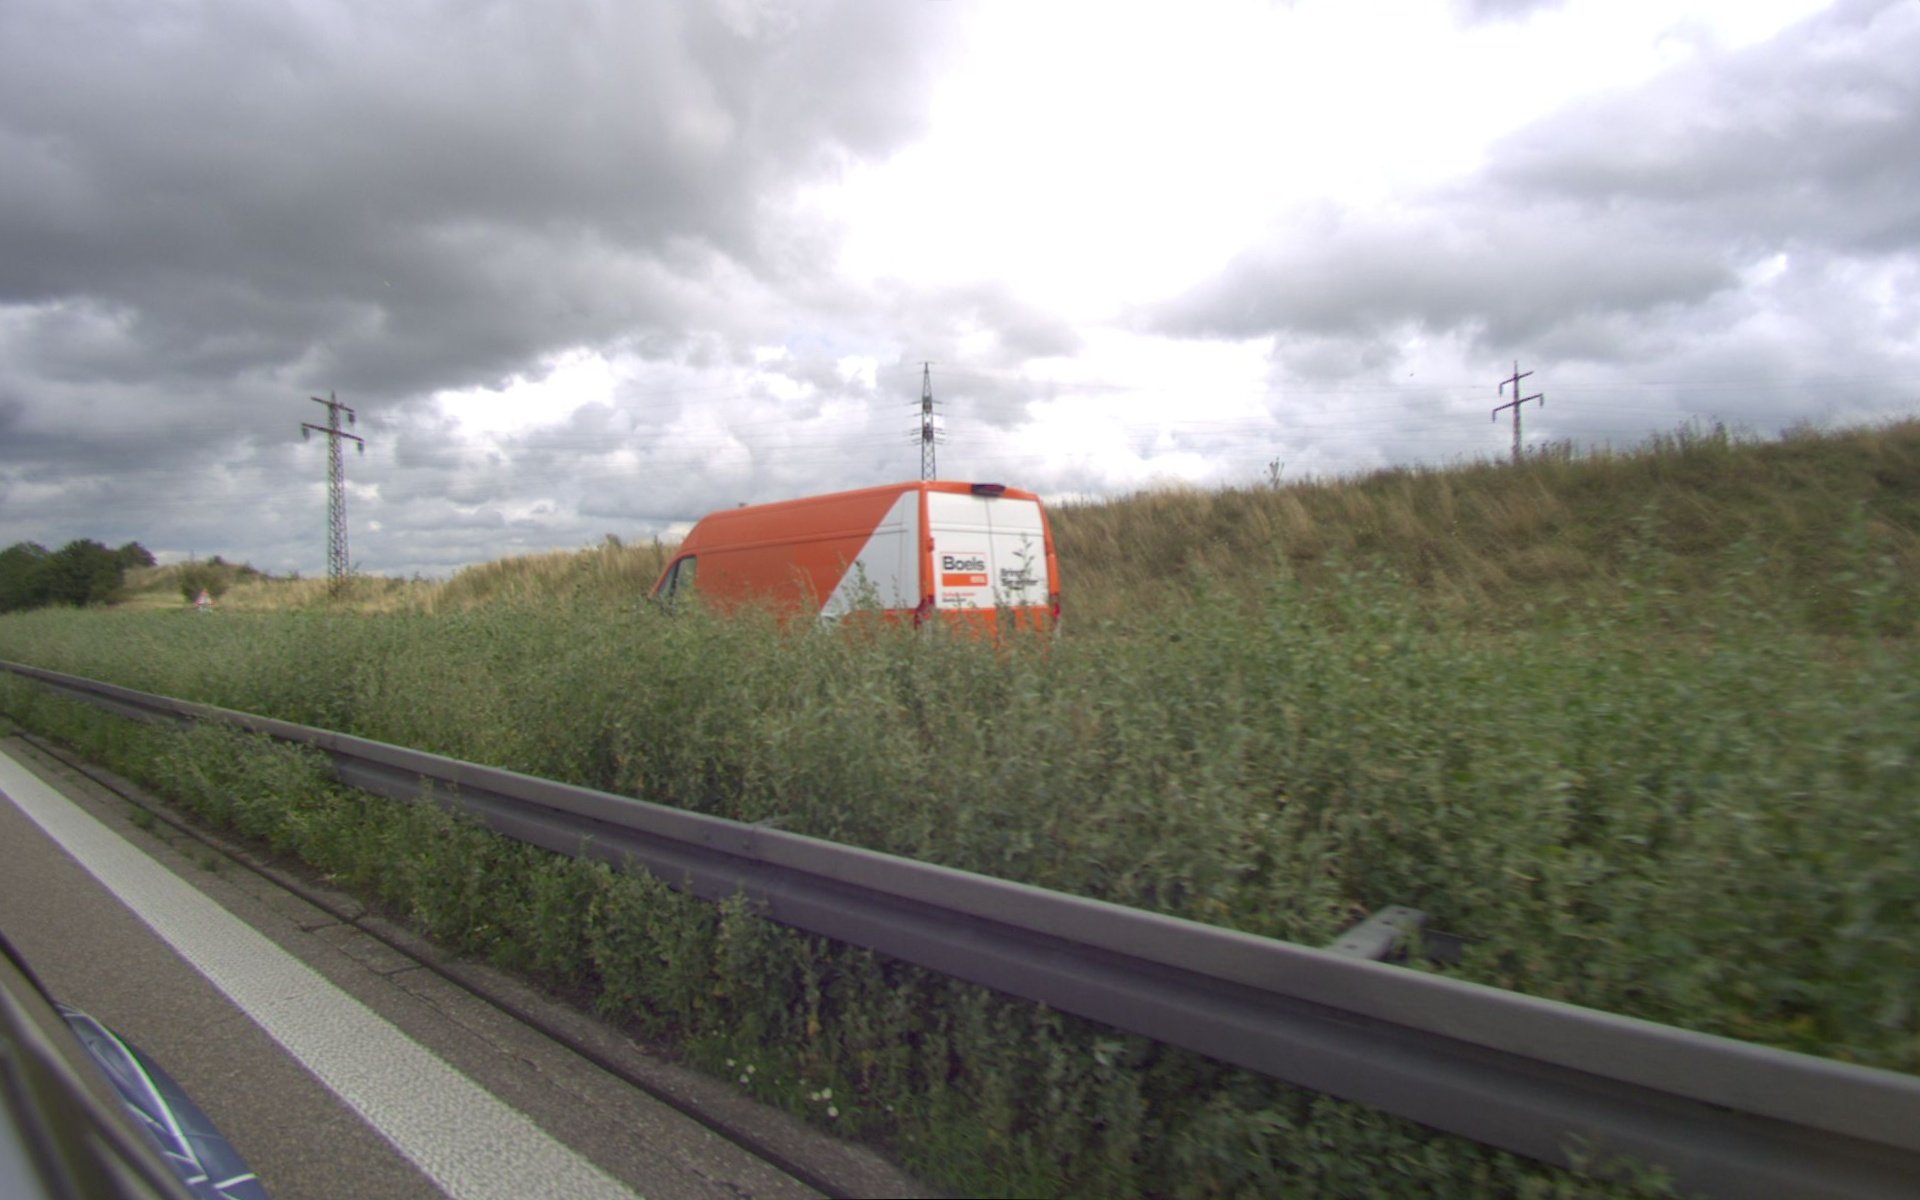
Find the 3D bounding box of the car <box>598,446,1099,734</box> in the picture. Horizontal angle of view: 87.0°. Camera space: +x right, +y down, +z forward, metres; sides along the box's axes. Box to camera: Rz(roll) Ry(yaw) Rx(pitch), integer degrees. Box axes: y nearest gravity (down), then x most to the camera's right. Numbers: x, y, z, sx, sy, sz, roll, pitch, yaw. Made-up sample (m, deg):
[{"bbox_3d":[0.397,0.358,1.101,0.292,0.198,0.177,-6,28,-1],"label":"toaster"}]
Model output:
[{"bbox_3d":[-1.421,-0.076,10.627,5.450,2.284,2.102,-1,0,41],"label":"car"}]
